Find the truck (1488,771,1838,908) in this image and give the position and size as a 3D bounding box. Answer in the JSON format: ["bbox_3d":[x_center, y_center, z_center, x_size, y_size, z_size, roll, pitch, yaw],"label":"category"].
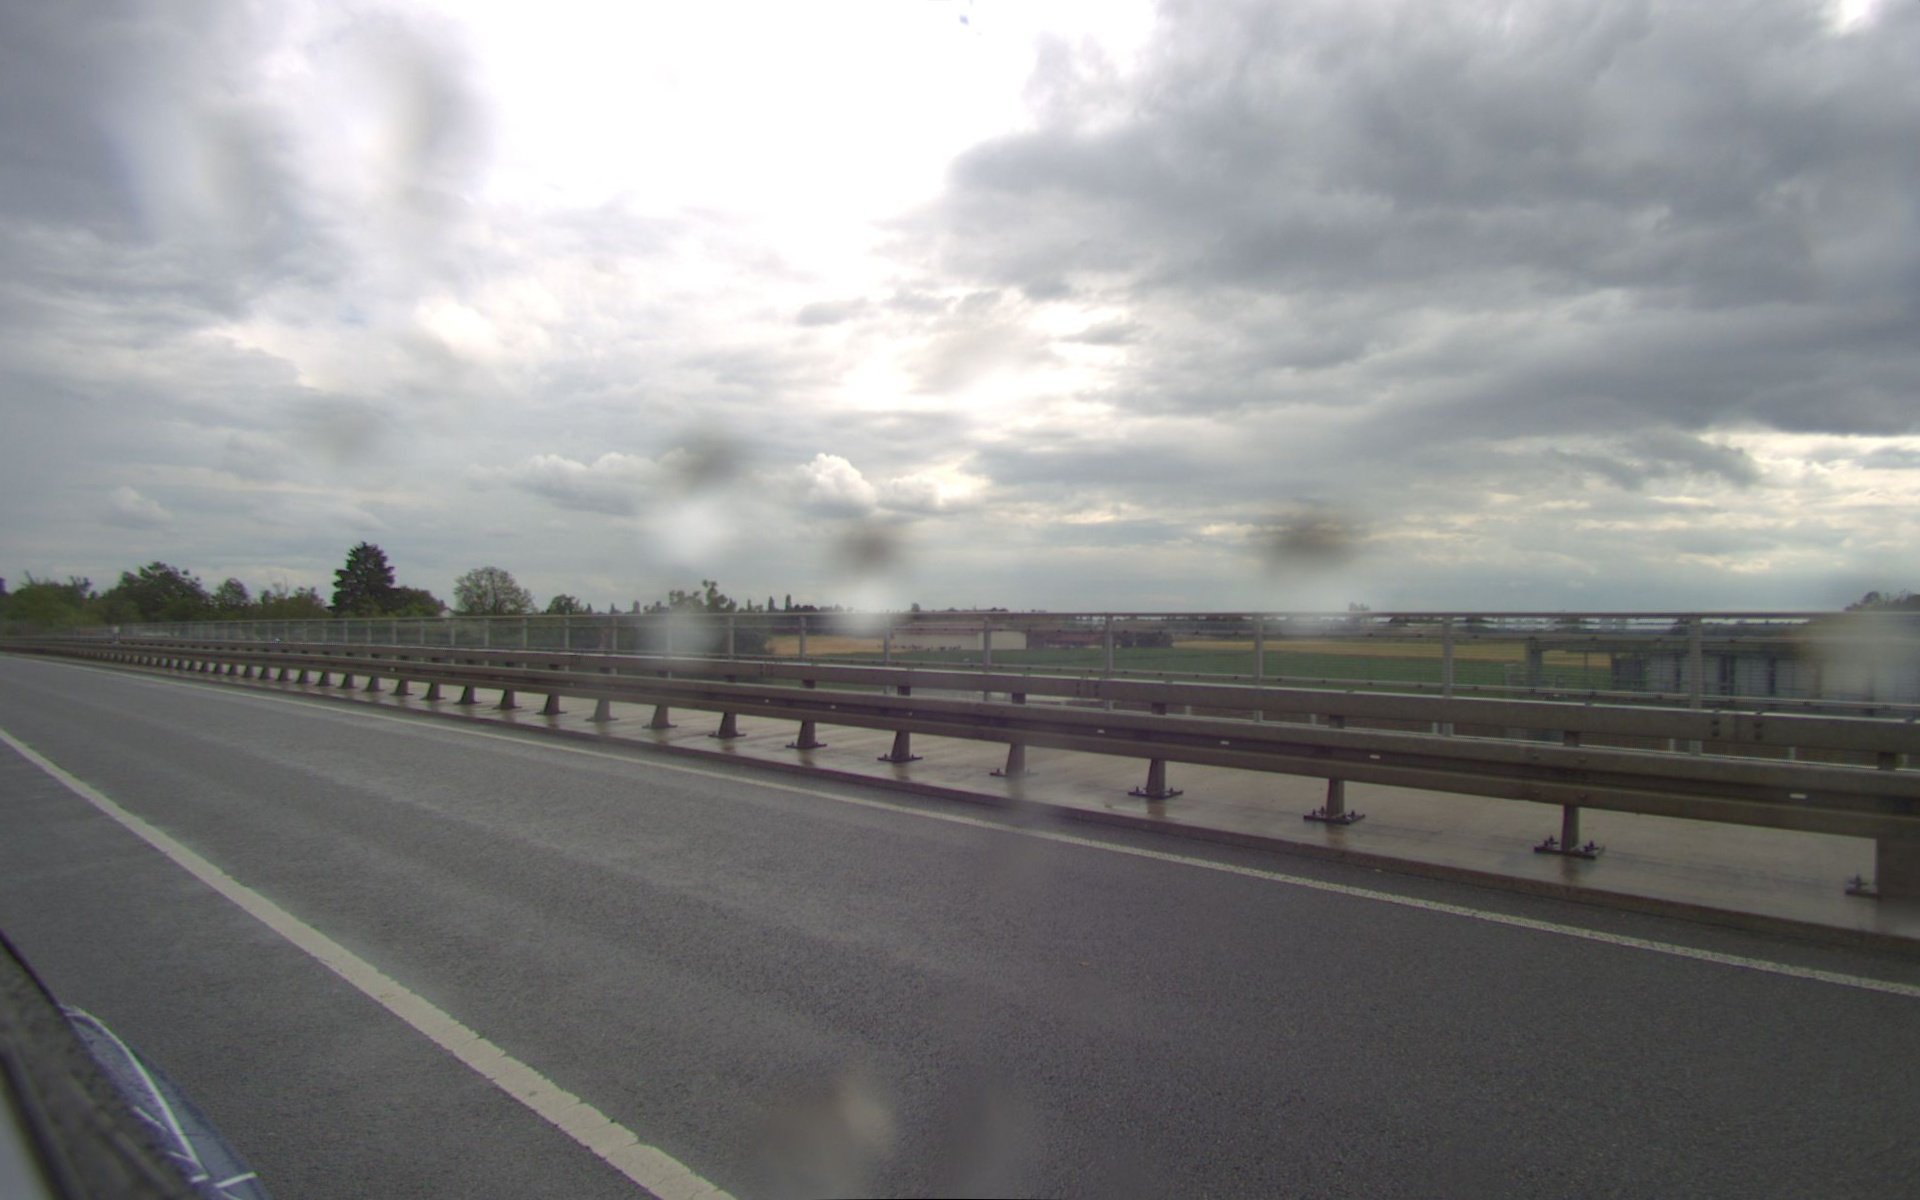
[{"bbox_3d":[25.074,8.509,36.355,11.006,4.031,2.438,-1,0,-2],"label":"truck"}]

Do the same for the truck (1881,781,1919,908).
[{"bbox_3d":[37.703,8.252,34.254,11.006,4.031,2.438,-1,0,-2],"label":"truck"}]
